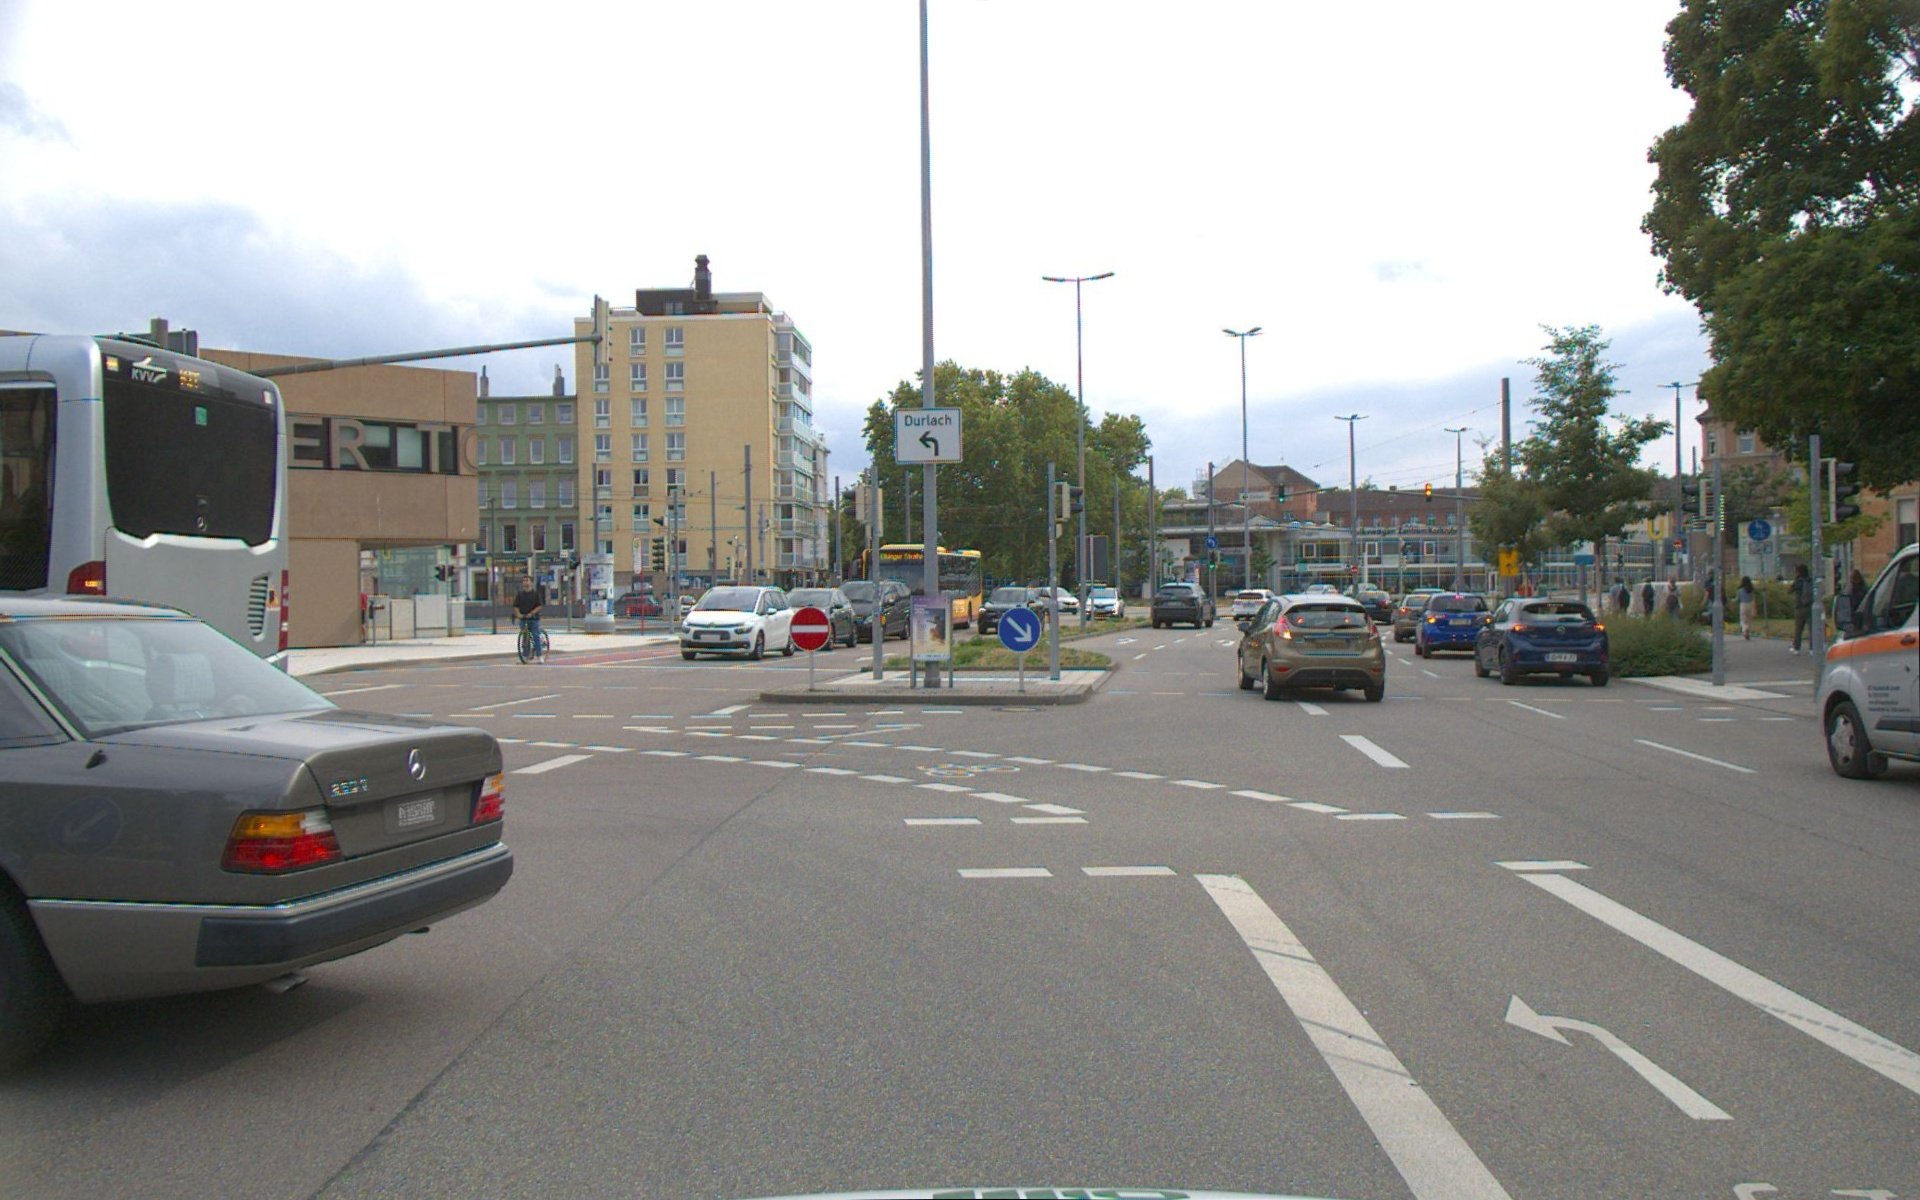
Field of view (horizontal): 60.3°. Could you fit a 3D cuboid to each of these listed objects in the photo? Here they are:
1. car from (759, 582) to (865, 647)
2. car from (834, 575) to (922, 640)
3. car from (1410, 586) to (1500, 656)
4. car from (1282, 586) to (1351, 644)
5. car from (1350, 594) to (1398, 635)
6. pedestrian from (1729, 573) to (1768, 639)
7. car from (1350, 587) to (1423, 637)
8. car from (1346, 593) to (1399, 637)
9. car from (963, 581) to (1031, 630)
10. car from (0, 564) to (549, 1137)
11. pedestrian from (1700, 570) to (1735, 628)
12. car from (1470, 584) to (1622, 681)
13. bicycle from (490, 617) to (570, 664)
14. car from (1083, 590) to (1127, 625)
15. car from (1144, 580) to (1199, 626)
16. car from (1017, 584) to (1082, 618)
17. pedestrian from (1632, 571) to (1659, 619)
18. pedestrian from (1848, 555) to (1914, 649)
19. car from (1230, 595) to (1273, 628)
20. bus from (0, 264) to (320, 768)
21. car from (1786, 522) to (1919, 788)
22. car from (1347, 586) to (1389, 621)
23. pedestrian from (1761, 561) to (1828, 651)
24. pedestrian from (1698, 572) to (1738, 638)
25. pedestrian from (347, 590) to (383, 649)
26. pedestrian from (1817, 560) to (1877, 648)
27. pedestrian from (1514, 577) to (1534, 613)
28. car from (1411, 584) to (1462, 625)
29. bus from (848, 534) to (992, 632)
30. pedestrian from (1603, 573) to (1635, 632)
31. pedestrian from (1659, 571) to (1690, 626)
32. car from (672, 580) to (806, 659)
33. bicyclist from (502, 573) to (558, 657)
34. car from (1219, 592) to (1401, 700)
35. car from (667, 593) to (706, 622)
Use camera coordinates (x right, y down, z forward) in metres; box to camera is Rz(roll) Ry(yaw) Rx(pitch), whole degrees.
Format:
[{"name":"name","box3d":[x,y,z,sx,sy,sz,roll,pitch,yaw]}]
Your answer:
[{"name":"car","box3d":[-4.013,0.383,45.612,1.951,1.680,4.294,1,0,8]},{"name":"car","box3d":[-2.520,0.217,51.991,1.951,1.932,4.294,1,0,8]},{"name":"car","box3d":[11.713,0.475,39.326,1.818,1.559,4.005,1,0,13]},{"name":"car","box3d":[9.515,0.393,43.954,1.674,1.445,4.003,1,0,14]},{"name":"car","box3d":[15.496,0.530,61.999,1.674,1.445,4.003,1,0,14]},{"name":"pedestrian","box3d":[19.667,0.141,41.262,0.762,1.601,0.812,-2,0,20]},{"name":"car","box3d":[13.144,0.370,51.091,2.087,1.445,3.703,1,0,14]},{"name":"car","box3d":[14.077,0.503,56.425,1.674,1.445,4.003,1,0,14]},{"name":"car","box3d":[1.405,0.200,60.642,1.951,1.680,4.516,1,0,8]},{"name":"car","box3d":[-3.797,0.635,5.681,4.307,1.506,1.702,1,0,13]},{"name":"pedestrian","box3d":[21.259,-0.025,46.423,0.762,1.601,0.812,-2,0,20]},{"name":"car","box3d":[9.984,0.519,28.416,1.631,1.534,3.637,1,0,6]},{"name":"bicycle","box3d":[-8.892,0.824,34.293,0.844,0.892,2.520,1,0,4]},{"name":"car","box3d":[7.300,0.375,82.950,1.951,1.680,4.516,1,0,8]},{"name":"car","box3d":[7.939,0.100,61.900,1.795,1.643,3.549,1,0,11]},{"name":"car","box3d":[5.405,0.047,100.532,1.976,2.049,3.952,1,0,-34]},{"name":"pedestrian","box3d":[23.406,-0.183,56.493,0.762,1.601,0.812,-2,0,20]},{"name":"pedestrian","box3d":[17.455,0.037,31.359,0.762,1.741,0.812,1,0,-3]},{"name":"car","box3d":[13.518,0.511,76.494,1.674,1.445,4.003,1,0,14]},{"name":"bus","box3d":[-12.592,-0.355,14.138,13.835,3.498,2.716,-2,0,11]},{"name":"car","box3d":[8.053,0.422,11.887,1.781,1.994,5.206,1,0,2]},{"name":"car","box3d":[17.586,0.169,71.267,1.674,1.445,4.003,1,0,14]},{"name":"pedestrian","box3d":[16.628,0.119,32.974,0.762,1.741,1.027,1,0,-3]},{"name":"pedestrian","box3d":[18.728,0.113,40.871,0.762,1.601,0.812,-2,0,20]},{"name":"pedestrian","box3d":[-18.390,0.600,51.137,0.803,1.763,0.770,-2,0,-37]},{"name":"pedestrian","box3d":[17.936,0.073,33.452,0.762,1.741,0.812,1,0,-3]},{"name":"pedestrian","box3d":[25.402,-0.217,74.453,0.762,1.601,0.812,-2,0,20]},{"name":"car","box3d":[17.830,0.163,61.988,1.667,1.445,3.703,1,0,14]},{"name":"bus","box3d":[-1.249,-0.571,62.451,3.080,3.312,12.424,1,0,10]},{"name":"pedestrian","box3d":[18.267,0.060,45.861,0.762,1.601,0.812,-2,0,20]},{"name":"pedestrian","box3d":[21.404,-0.052,49.551,0.762,1.601,0.812,-2,0,20]},{"name":"car","box3d":[-5.032,0.429,38.259,1.951,1.680,4.294,1,0,8]},{"name":"bicyclist","box3d":[-8.886,0.309,34.219,0.848,1.698,0.881,1,0,3]},{"name":"car","box3d":[4.993,0.615,24.042,1.661,1.429,3.697,1,0,-3]},{"name":"car","box3d":[-19.934,0.558,120.798,1.952,2.049,4.002,1,0,3]}]
